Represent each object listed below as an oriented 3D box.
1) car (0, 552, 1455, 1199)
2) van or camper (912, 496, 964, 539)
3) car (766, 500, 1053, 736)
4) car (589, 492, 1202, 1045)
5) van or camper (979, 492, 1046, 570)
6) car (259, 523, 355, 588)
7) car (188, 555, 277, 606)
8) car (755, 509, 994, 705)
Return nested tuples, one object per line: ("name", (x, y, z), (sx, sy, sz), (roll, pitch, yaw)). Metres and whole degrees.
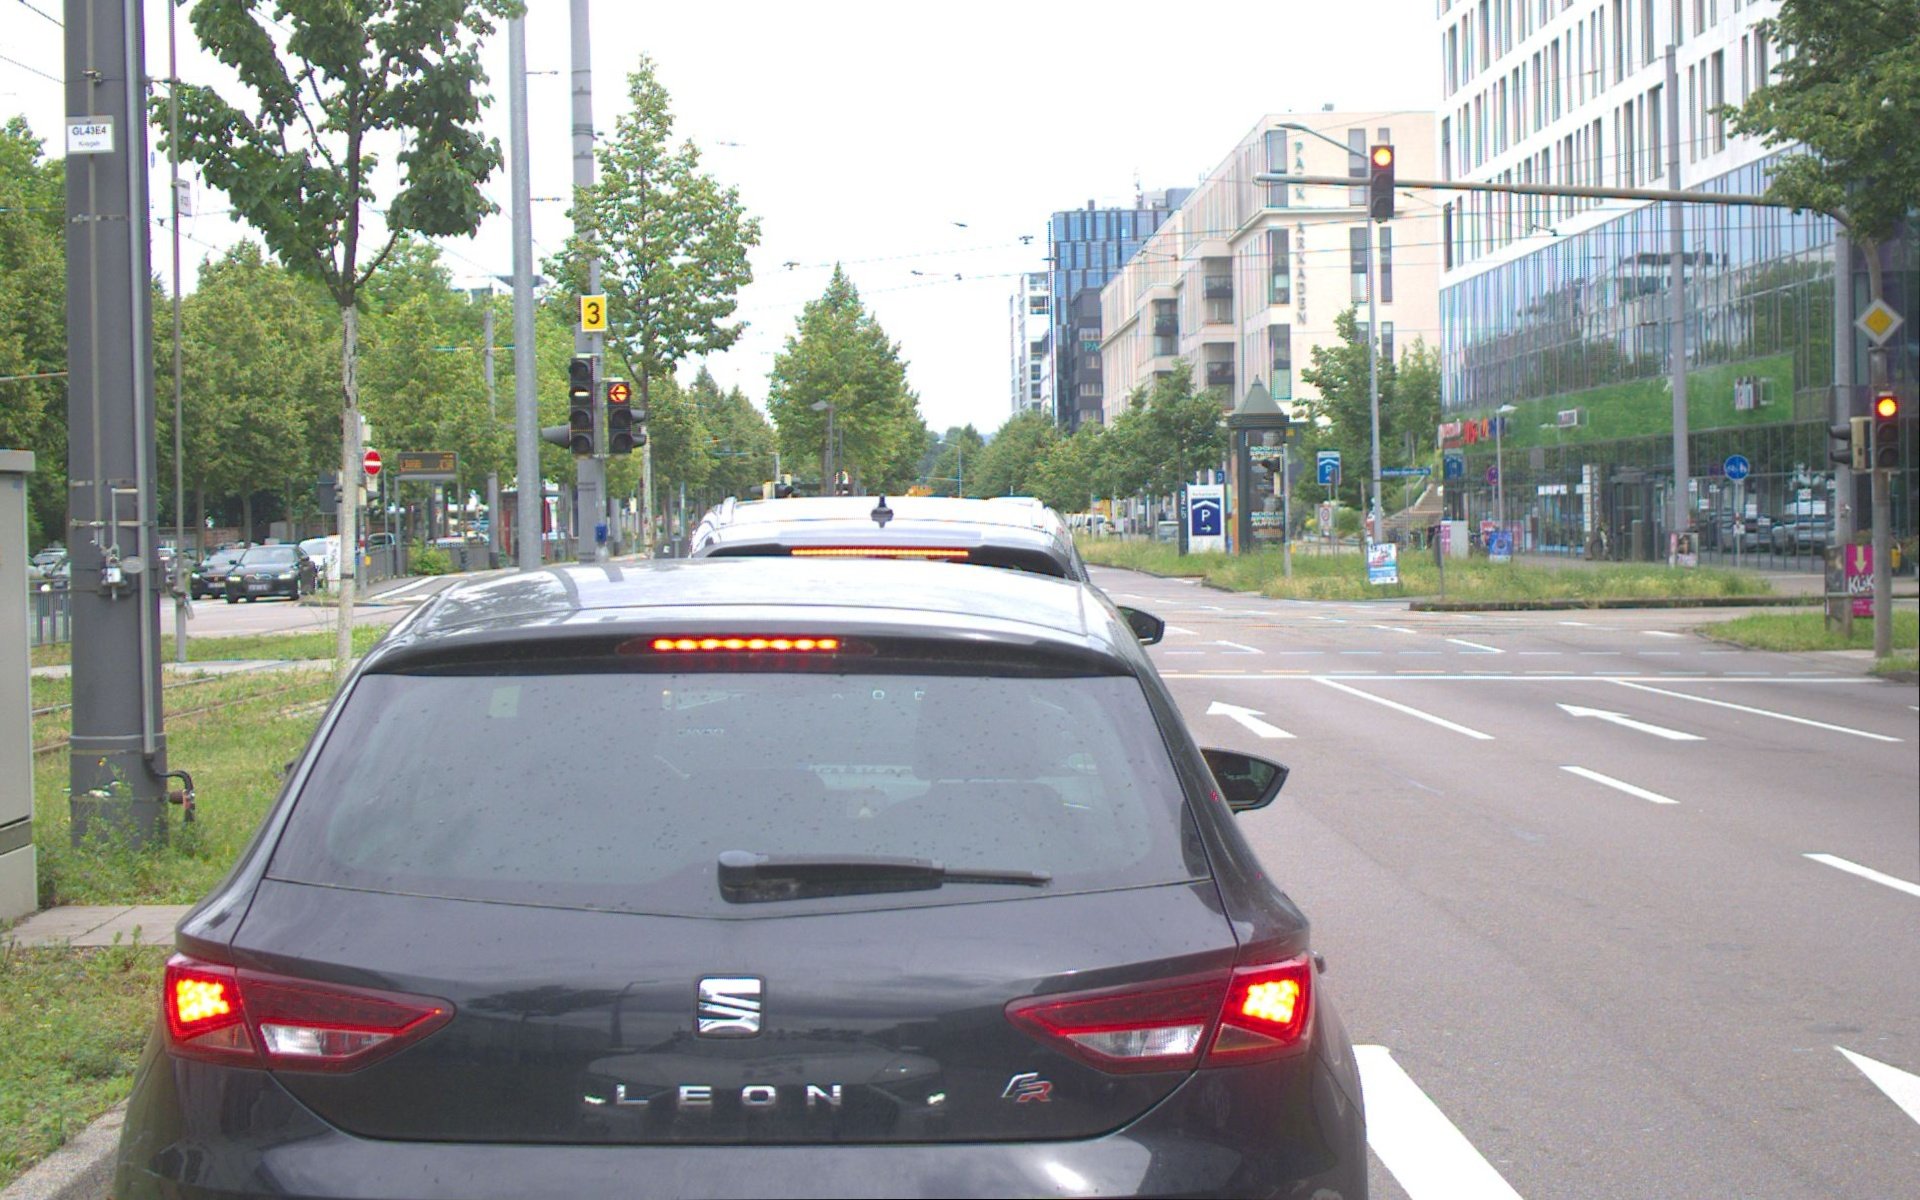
("car", (-0.342, 0.655, 6.058), (1.743, 1.412, 4.001), (0, 2, -1))
("van or camper", (-0.860, -3.279, 136.509), (1.993, 1.609, 4.789), (0, 3, 0))
("car", (-0.308, 0.070, 26.604), (1.994, 1.676, 4.000), (0, 2, 2))
("car", (-0.214, 0.451, 12.241), (1.802, 1.619, 4.000), (-1, 1, -1))
("van or camper", (1.697, -2.284, 112.455), (2.109, 2.348, 4.924), (0, 3, 0))
("car", (-18.341, -1.271, 96.714), (1.993, 1.744, 4.201), (-1, 1, -2))
("car", (-21.165, -0.588, 100.098), (1.801, 1.373, 4.058), (-1, 1, -1))
("car", (-0.725, 0.008, 31.842), (1.993, 1.676, 4.000), (0, 2, 2))
